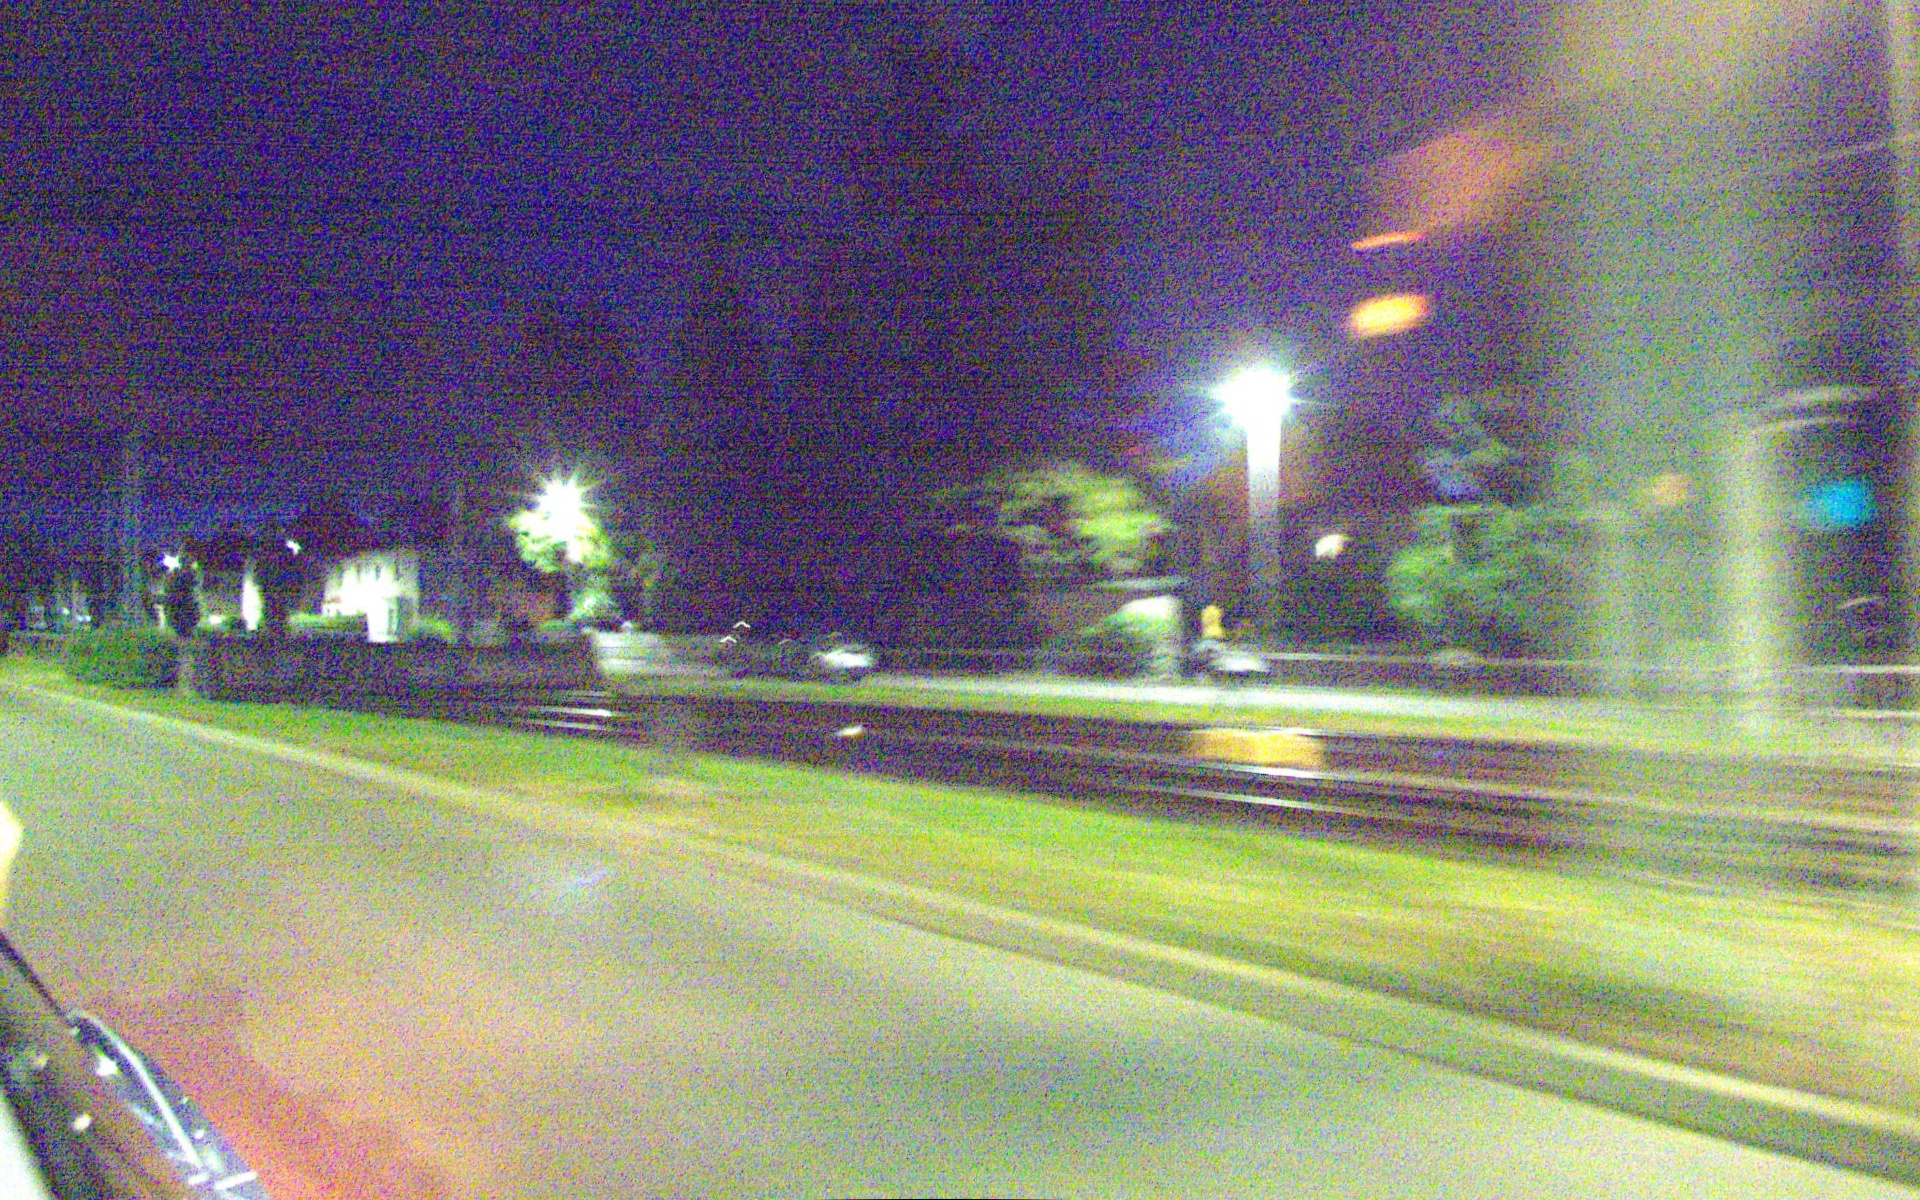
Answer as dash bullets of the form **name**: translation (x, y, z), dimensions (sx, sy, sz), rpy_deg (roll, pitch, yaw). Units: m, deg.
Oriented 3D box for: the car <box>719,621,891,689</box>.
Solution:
- **car**: translation (-3.792, 1.275, 24.451), dimensions (4.090, 1.516, 1.847), rpy_deg (-1, -2, 39)
